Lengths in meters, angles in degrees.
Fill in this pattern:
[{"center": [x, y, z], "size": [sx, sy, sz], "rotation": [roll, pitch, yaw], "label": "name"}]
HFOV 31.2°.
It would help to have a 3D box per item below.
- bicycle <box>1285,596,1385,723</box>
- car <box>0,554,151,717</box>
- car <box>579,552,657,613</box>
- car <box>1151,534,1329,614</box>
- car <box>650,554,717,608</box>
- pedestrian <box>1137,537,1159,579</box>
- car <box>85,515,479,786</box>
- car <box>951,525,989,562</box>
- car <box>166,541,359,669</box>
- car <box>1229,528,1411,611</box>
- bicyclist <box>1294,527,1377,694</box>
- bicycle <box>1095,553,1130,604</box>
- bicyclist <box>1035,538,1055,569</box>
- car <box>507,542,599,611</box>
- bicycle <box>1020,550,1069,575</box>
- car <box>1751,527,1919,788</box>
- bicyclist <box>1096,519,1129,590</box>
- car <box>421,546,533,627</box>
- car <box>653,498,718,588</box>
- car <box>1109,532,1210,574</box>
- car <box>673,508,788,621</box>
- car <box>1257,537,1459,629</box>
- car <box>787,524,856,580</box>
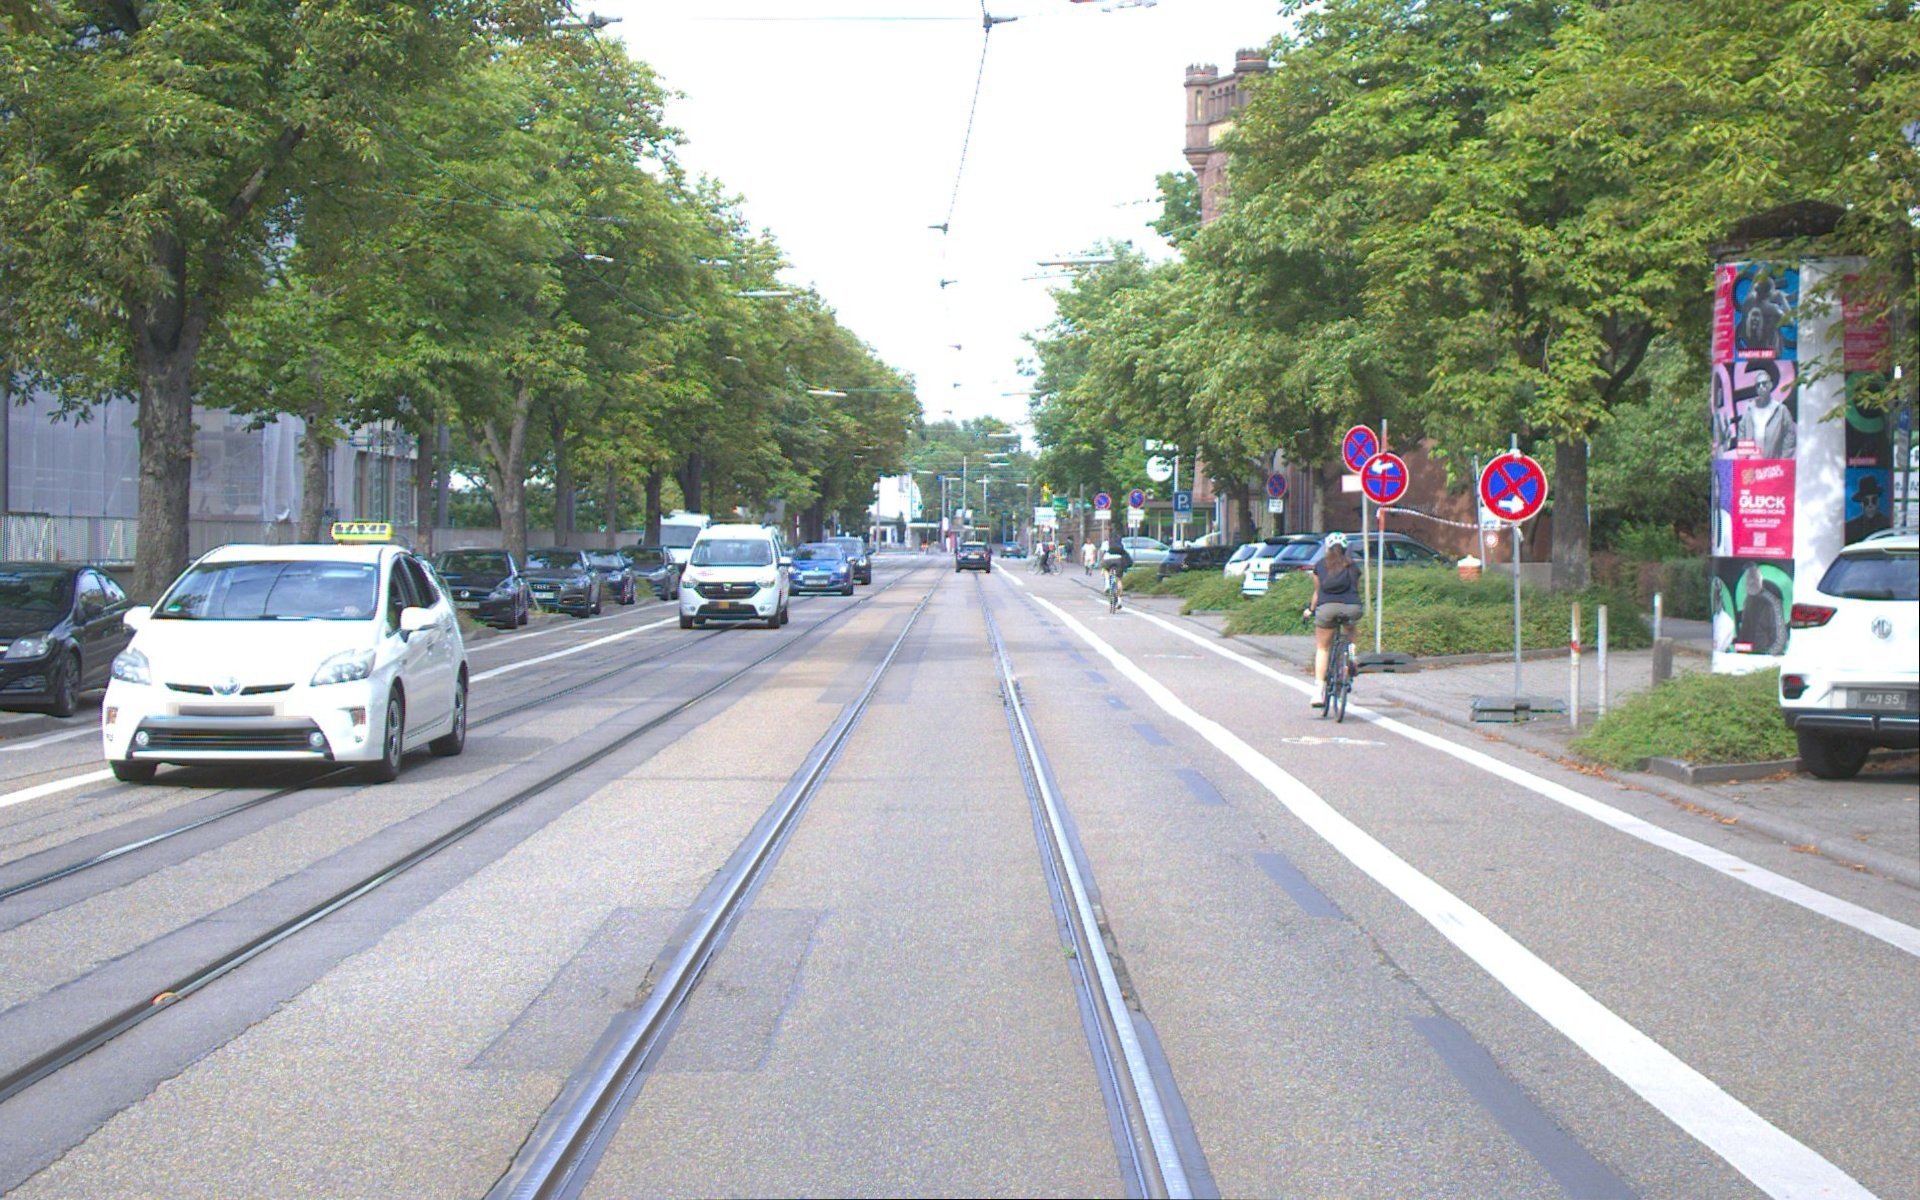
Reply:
[{"center": [3.316, 0.512, 30.509], "size": [0.592, 1.040, 1.978], "rotation": [1, 1, -2], "label": "bicycle"}, {"center": [-8.804, 0.286, 32.260], "size": [1.590, 1.398, 3.963], "rotation": [1, 1, -2], "label": "car"}, {"center": [-8.229, -0.431, 82.949], "size": [1.590, 1.398, 3.963], "rotation": [1, 1, -2], "label": "car"}, {"center": [5.763, -0.536, 70.539], "size": [1.681, 1.597, 3.637], "rotation": [1, 1, 45], "label": "car"}, {"center": [-7.473, -0.521, 93.143], "size": [1.590, 1.398, 3.963], "rotation": [1, 1, -2], "label": "car"}, {"center": [7.908, -1.767, 144.515], "size": [0.748, 1.783, 0.730], "rotation": [1, 0, 15], "label": "pedestrian"}, {"center": [-4.335, 0.258, 22.605], "size": [1.732, 1.607, 4.334], "rotation": [0, 1, 0], "label": "car"}, {"center": [0.492, -2.795, 169.460], "size": [1.795, 1.817, 4.679], "rotation": [1, 1, -1], "label": "car"}, {"center": [-8.649, 0.026, 42.917], "size": [1.635, 1.491, 3.963], "rotation": [1, 1, -1], "label": "car"}, {"center": [7.174, -0.607, 68.391], "size": [1.681, 1.597, 3.637], "rotation": [1, 1, 45], "label": "car"}, {"center": [3.325, 0.085, 30.503], "size": [0.592, 1.454, 0.875], "rotation": [1, 1, -2], "label": "bicyclist"}, {"center": [3.224, -0.456, 72.934], "size": [0.663, 1.040, 1.841], "rotation": [1, 1, 1], "label": "bicycle"}, {"center": [4.129, -2.279, 167.219], "size": [0.847, 1.499, 0.768], "rotation": [1, 1, 7], "label": "bicyclist"}, {"center": [-8.577, -0.524, 72.726], "size": [1.590, 1.398, 3.963], "rotation": [1, 1, -2], "label": "car"}, {"center": [4.125, -1.807, 167.230], "size": [2.275, 1.185, 0.768], "rotation": [1, 1, 8], "label": "bicycle"}, {"center": [6.913, 0.341, 22.553], "size": [1.681, 1.597, 3.637], "rotation": [1, 1, 45], "label": "car"}, {"center": [3.234, -0.959, 72.907], "size": [0.659, 1.491, 0.929], "rotation": [1, 1, 1], "label": "bicyclist"}, {"center": [-8.733, -0.274, 62.429], "size": [1.590, 1.398, 3.963], "rotation": [1, 1, -2], "label": "car"}, {"center": [-8.472, -1.755, 106.484], "size": [1.720, 2.695, 5.471], "rotation": [1, 1, -2], "label": "car"}, {"center": [8.380, -1.976, 144.751], "size": [3.986, 1.687, 2.000], "rotation": [1, 1, -5], "label": "car"}, {"center": [-3.965, -0.638, 59.890], "size": [1.732, 1.878, 4.378], "rotation": [1, 1, -1], "label": "car"}, {"center": [7.150, -0.317, 61.594], "size": [1.681, 1.597, 3.637], "rotation": [1, 1, 45], "label": "car"}, {"center": [-3.834, -1.349, 95.615], "size": [1.732, 1.491, 4.378], "rotation": [0, 1, 0], "label": "car"}]
